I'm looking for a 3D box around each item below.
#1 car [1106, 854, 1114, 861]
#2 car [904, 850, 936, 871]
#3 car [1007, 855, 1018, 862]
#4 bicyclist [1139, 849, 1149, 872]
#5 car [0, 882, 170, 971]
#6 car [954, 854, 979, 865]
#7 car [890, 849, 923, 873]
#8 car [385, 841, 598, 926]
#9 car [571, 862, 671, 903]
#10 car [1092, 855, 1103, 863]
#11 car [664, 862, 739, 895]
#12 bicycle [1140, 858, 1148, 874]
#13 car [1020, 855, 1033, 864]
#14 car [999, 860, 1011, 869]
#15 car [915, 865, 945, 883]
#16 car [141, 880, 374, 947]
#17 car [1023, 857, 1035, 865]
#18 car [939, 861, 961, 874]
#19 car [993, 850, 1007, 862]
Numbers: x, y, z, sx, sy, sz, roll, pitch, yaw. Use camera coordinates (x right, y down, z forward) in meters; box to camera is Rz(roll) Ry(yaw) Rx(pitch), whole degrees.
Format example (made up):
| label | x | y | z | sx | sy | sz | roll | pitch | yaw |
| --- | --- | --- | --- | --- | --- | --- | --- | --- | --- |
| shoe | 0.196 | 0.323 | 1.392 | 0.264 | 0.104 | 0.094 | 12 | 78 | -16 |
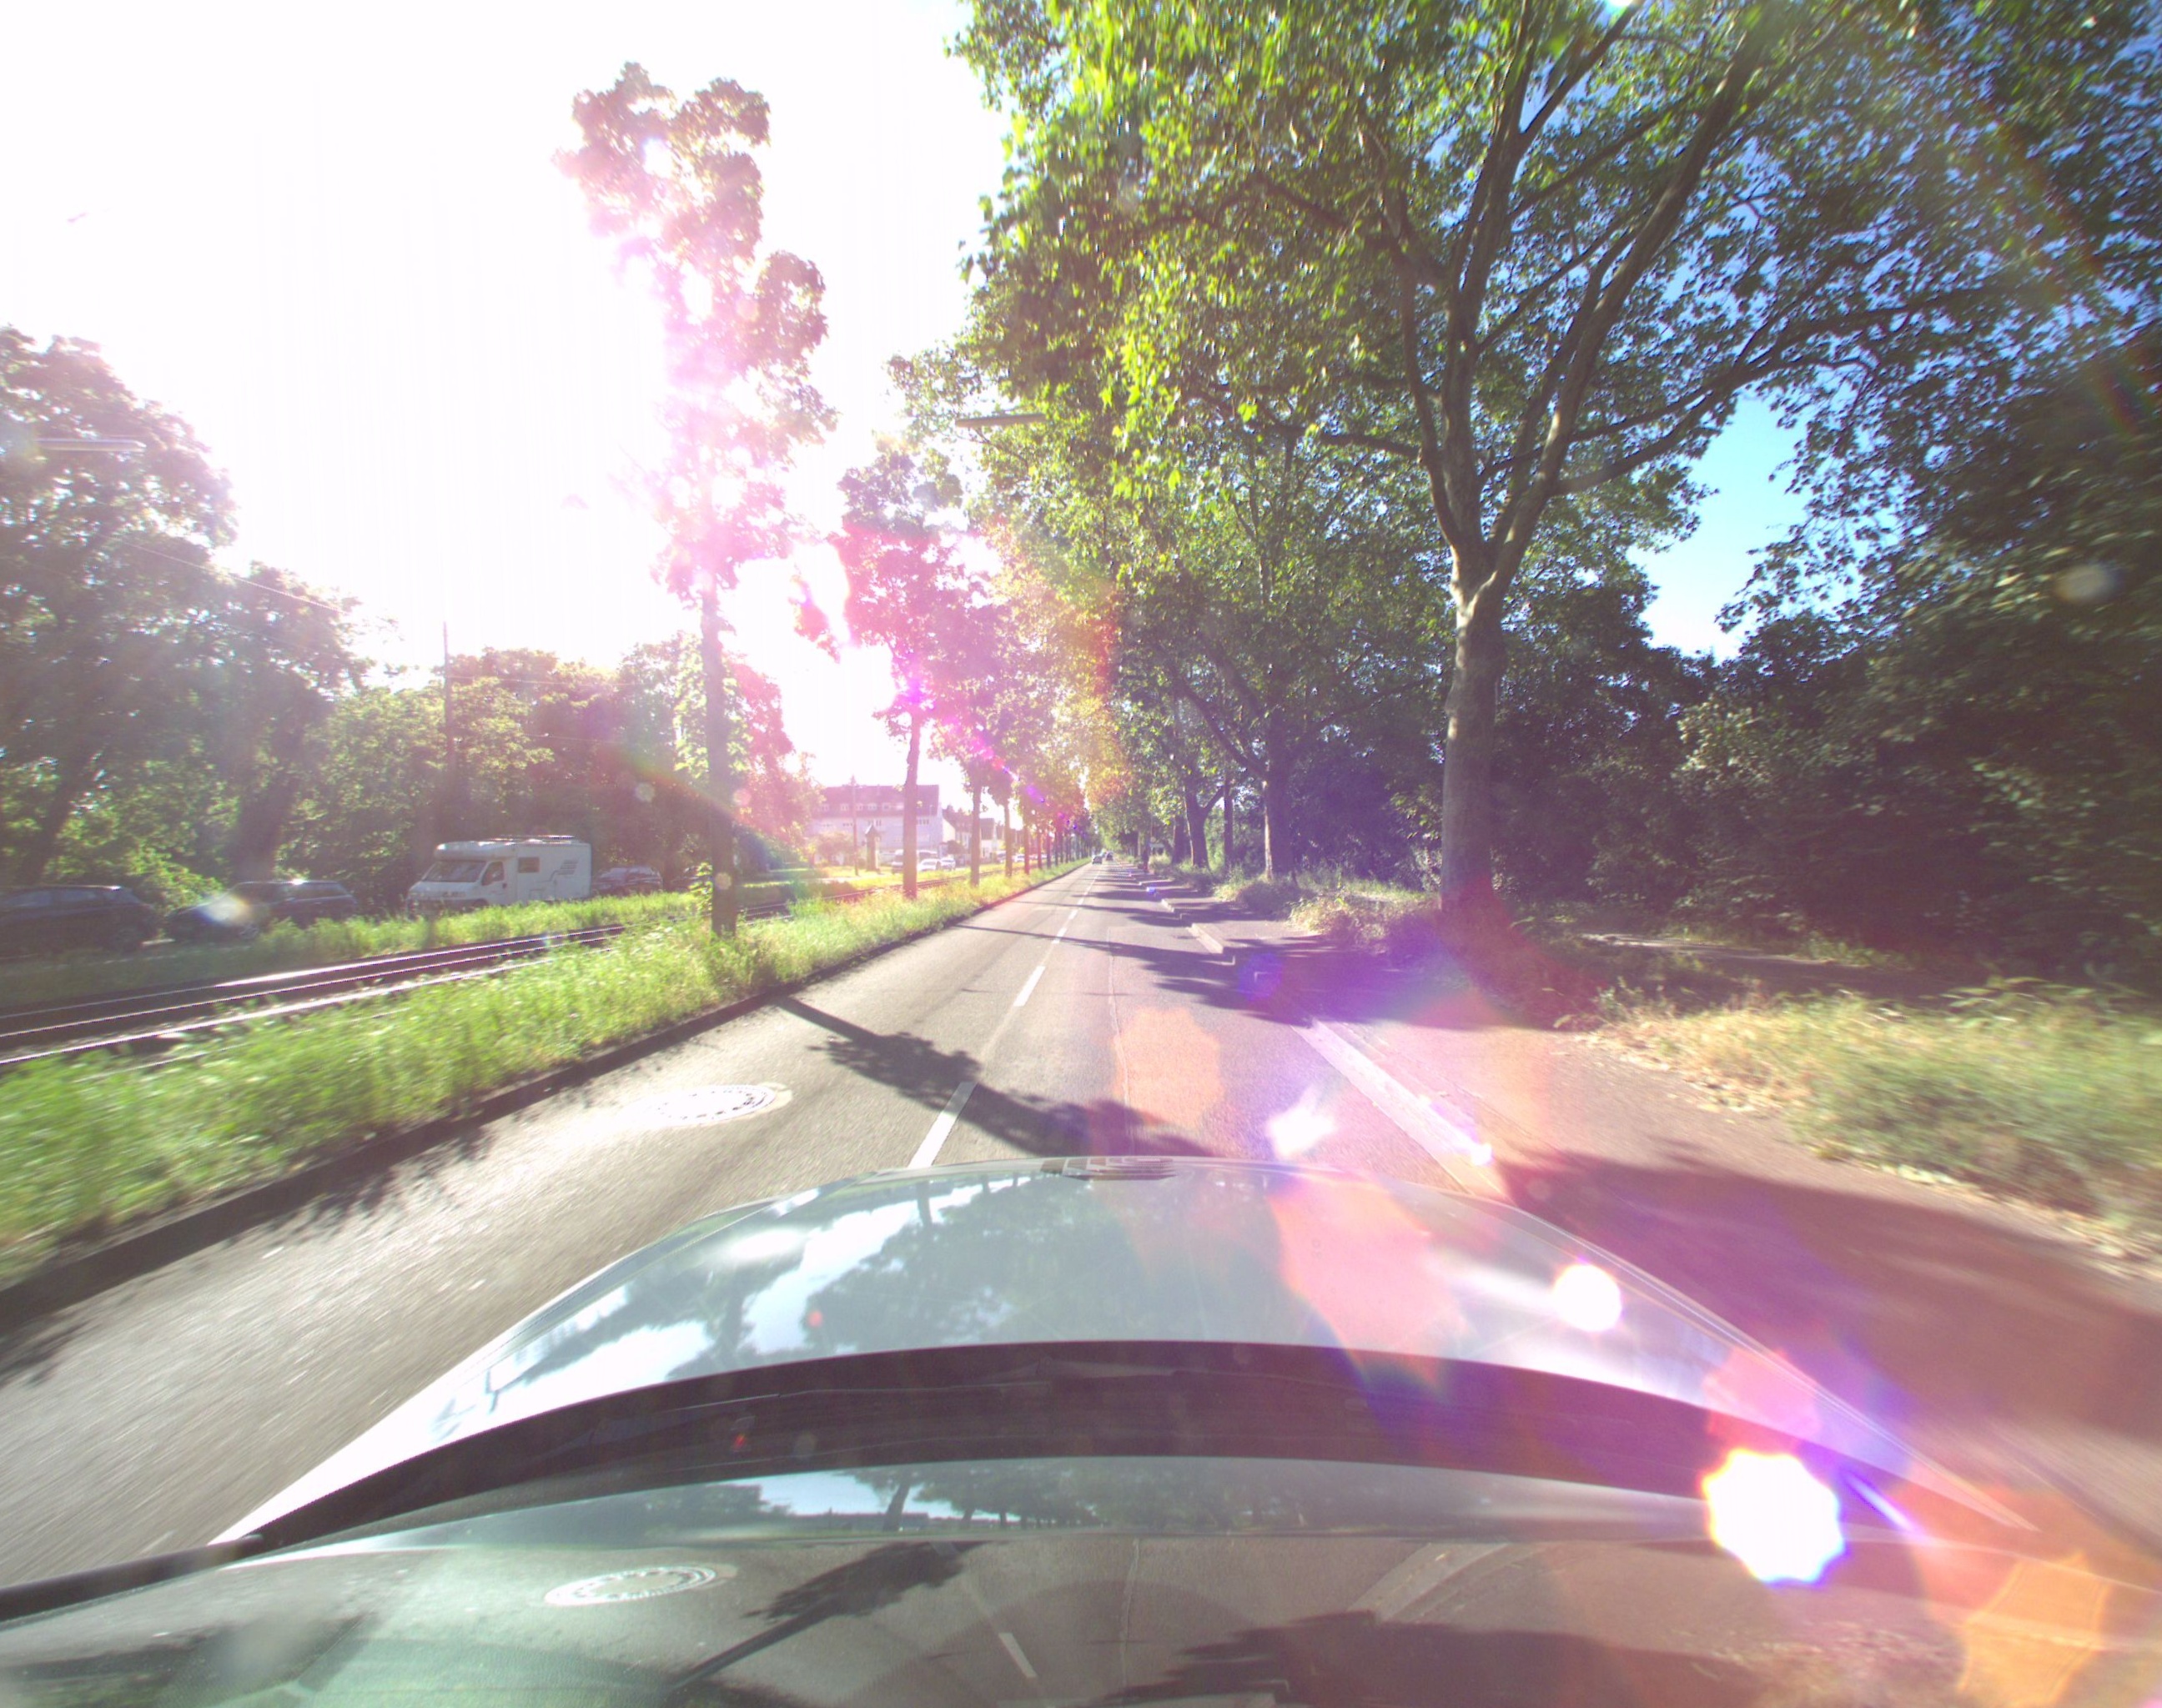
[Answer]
| label | x | y | z | sx | sy | sz | roll | pitch | yaw |
| --- | --- | --- | --- | --- | --- | --- | --- | --- | --- |
| car | 6.599 | 0.783 | 187.344 | 1.754 | 1.513 | 3.279 | 0 | -1 | 2 |
| car | -18.359 | 0.755 | 93.040 | 2.174 | 2.376 | 6.467 | 0 | 0 | 2 |
| car | -15.471 | 0.968 | 183.891 | 1.985 | 1.581 | 4.501 | 0 | 0 | 2 |
| bicyclist | 4.549 | 0.442 | 58.922 | 0.611 | 1.628 | 0.910 | -2 | 0 | 1 |
| car | -20.739 | 1.387 | 15.526 | 1.760 | 1.563 | 4.286 | -1 | -1 | 4 |
| car | -21.275 | 1.089 | 151.196 | 4.616 | 1.945 | 1.994 | -1 | 0 | -9 |
| car | -18.231 | 0.732 | 85.293 | 1.994 | 2.496 | 6.138 | 0 | 0 | 1 |
| car | -19.850 | 0.870 | 28.030 | 2.217 | 2.580 | 6.802 | 0 | 0 | 2 |
| car | -19.717 | 1.182 | 35.119 | 1.616 | 1.622 | 4.534 | 0 | 0 | 1 |
| car | 2.703 | 0.826 | 133.167 | 1.732 | 1.401 | 3.278 | 0 | 0 | 2 |
| car | -19.445 | 1.221 | 41.915 | 1.667 | 1.584 | 4.252 | 0 | 0 | 3 |
| bicycle | 4.566 | 0.842 | 58.879 | 0.438 | 1.153 | 1.824 | -2 | 0 | 2 |
| car | -10.150 | 0.993 | 151.439 | 1.804 | 1.744 | 4.984 | 0 | 0 | 2 |
| car | -12.032 | 1.590 | 128.863 | 1.551 | 1.395 | 3.821 | 0 | 0 | 1 |
| car | -13.750 | 1.825 | 74.316 | 1.720 | 1.528 | 4.445 | 0 | 0 | 2 |
| car | -20.530 | 1.427 | 20.583 | 1.703 | 1.434 | 4.003 | 0 | 0 | 3 |
| car | -10.592 | 1.425 | 166.353 | 1.985 | 1.531 | 3.754 | -2 | 0 | 3 |
| car | -17.084 | 1.785 | 106.395 | 1.816 | 1.607 | 4.776 | 0 | 0 | 2 |
| car | -16.324 | 0.448 | 164.635 | 1.986 | 2.459 | 6.676 | 0 | 0 | 1 |
